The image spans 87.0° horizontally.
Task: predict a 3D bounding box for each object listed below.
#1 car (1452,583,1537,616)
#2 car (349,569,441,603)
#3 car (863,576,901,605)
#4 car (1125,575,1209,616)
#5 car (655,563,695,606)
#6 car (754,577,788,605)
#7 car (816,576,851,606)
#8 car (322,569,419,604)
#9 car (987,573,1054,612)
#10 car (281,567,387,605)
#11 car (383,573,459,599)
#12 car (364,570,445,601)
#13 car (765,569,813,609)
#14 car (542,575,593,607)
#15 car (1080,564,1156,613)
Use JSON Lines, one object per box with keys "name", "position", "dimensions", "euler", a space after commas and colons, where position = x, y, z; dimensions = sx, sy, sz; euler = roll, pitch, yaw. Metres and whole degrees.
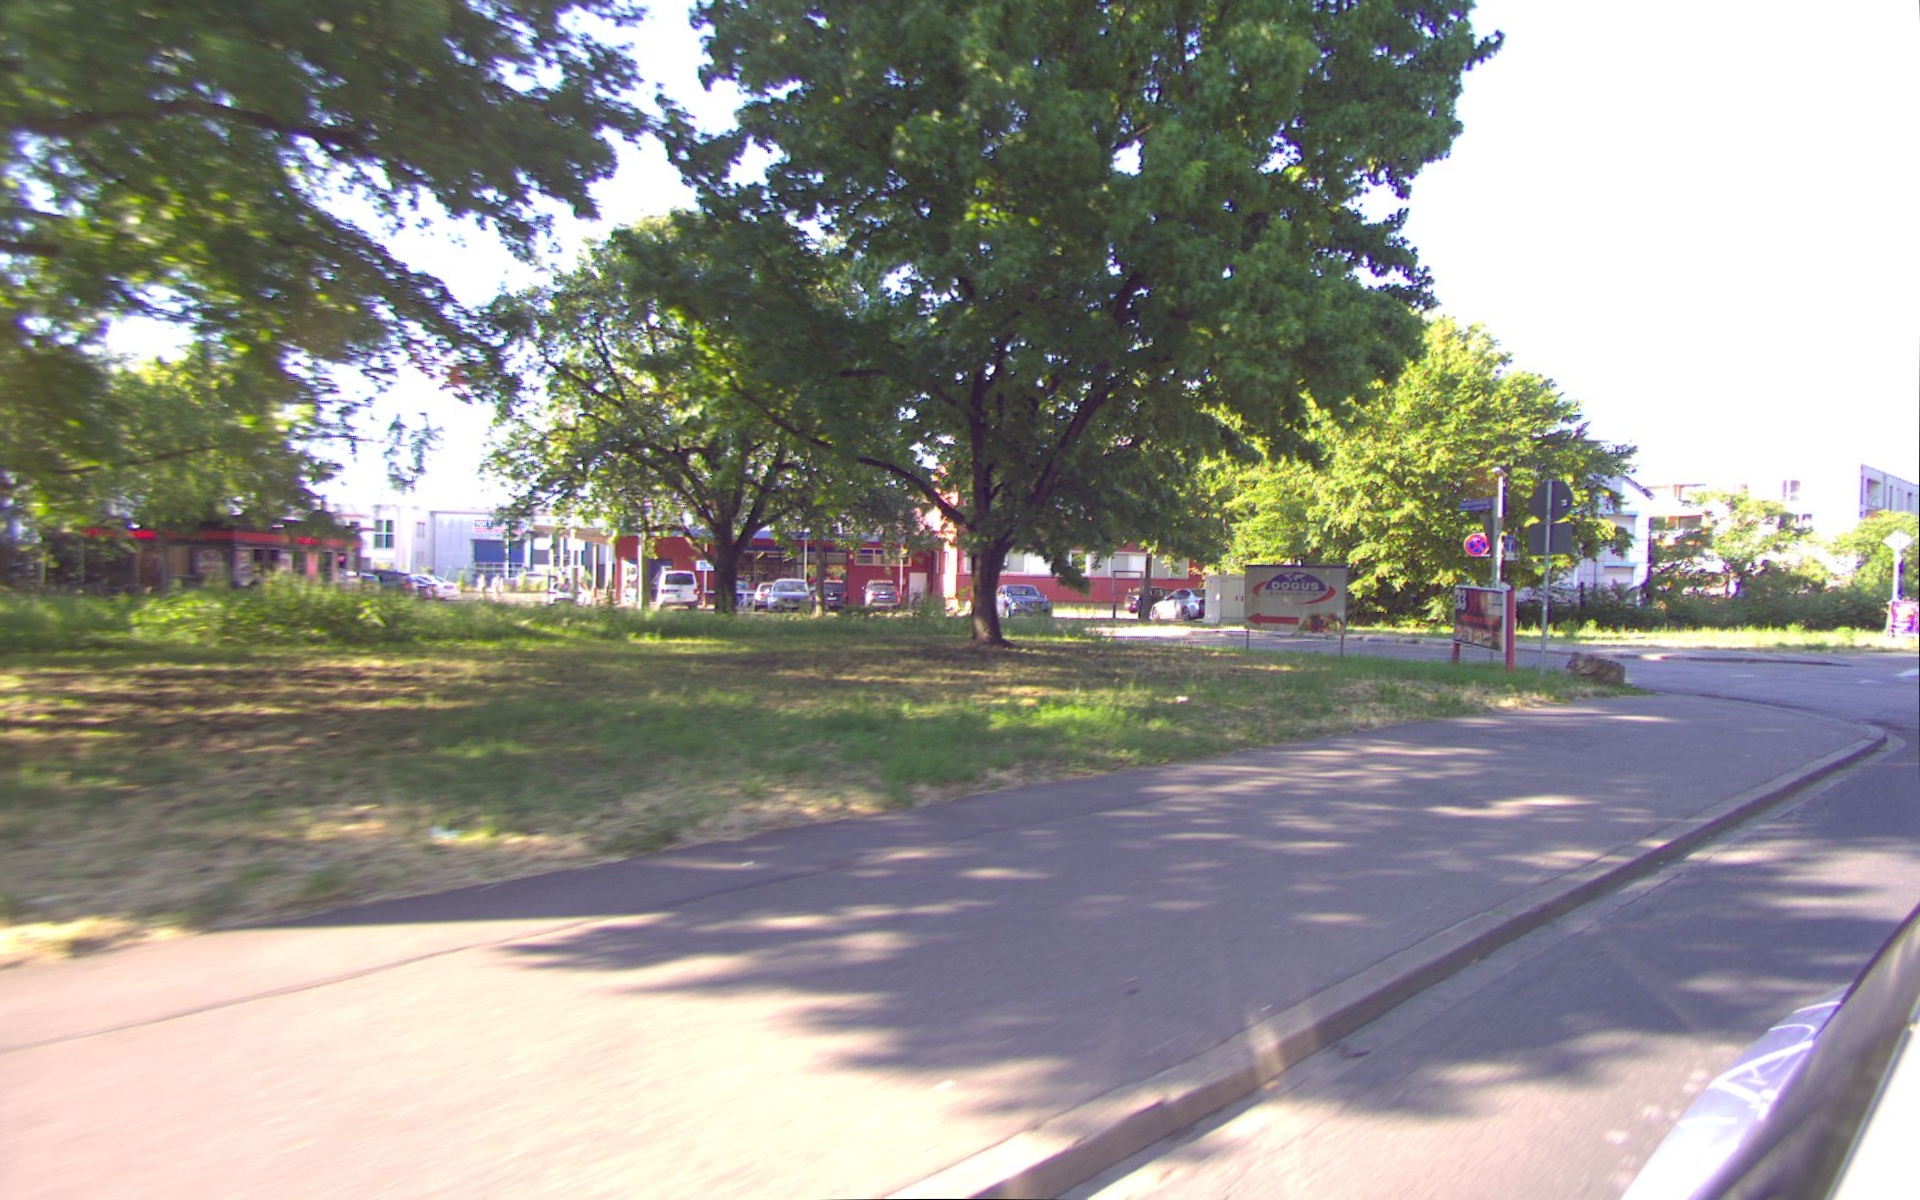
{"name": "car", "position": [29.332, -0.062, 55.629], "dimensions": [1.869, 1.593, 4.010], "euler": [0, 2, -15]}
{"name": "car", "position": [-29.141, -0.707, 52.279], "dimensions": [3.787, 1.710, 1.704], "euler": [0, -1, -6]}
{"name": "car", "position": [-4.157, -0.467, 53.693], "dimensions": [1.651, 1.444, 3.558], "euler": [0, -1, -10]}
{"name": "car", "position": [8.554, -0.200, 42.228], "dimensions": [1.959, 1.614, 4.453], "euler": [0, 0, -10]}
{"name": "car", "position": [-14.384, -0.725, 50.956], "dimensions": [1.852, 2.000, 4.657], "euler": [0, -1, -16]}
{"name": "car", "position": [-9.757, -0.445, 52.241], "dimensions": [1.651, 1.368, 3.558], "euler": [0, -1, -10]}
{"name": "car", "position": [-6.767, -0.466, 53.741], "dimensions": [1.651, 1.521, 3.558], "euler": [0, -1, -10]}
{"name": "car", "position": [-28.976, -0.651, 49.825], "dimensions": [3.787, 1.710, 1.704], "euler": [0, -1, -6]}
{"name": "car", "position": [2.425, -0.264, 41.682], "dimensions": [1.752, 1.495, 4.675], "euler": [0, -1, -9]}
{"name": "car", "position": [-28.810, -0.627, 46.669], "dimensions": [3.787, 1.710, 1.704], "euler": [0, -1, -6]}
{"name": "car", "position": [-31.702, -0.815, 59.566], "dimensions": [3.574, 1.481, 1.704], "euler": [0, -1, -6]}
{"name": "car", "position": [-31.012, -0.795, 56.544], "dimensions": [3.574, 1.710, 1.704], "euler": [0, -1, -6]}
{"name": "car", "position": [-6.697, -0.405, 39.982], "dimensions": [1.752, 1.495, 4.202], "euler": [0, -1, -8]}
{"name": "car", "position": [-19.389, -0.423, 50.171], "dimensions": [1.650, 1.501, 3.951], "euler": [0, -1, -11]}
{"name": "car", "position": [6.325, -0.502, 40.998], "dimensions": [1.671, 1.840, 4.454], "euler": [1, 1, -10]}
